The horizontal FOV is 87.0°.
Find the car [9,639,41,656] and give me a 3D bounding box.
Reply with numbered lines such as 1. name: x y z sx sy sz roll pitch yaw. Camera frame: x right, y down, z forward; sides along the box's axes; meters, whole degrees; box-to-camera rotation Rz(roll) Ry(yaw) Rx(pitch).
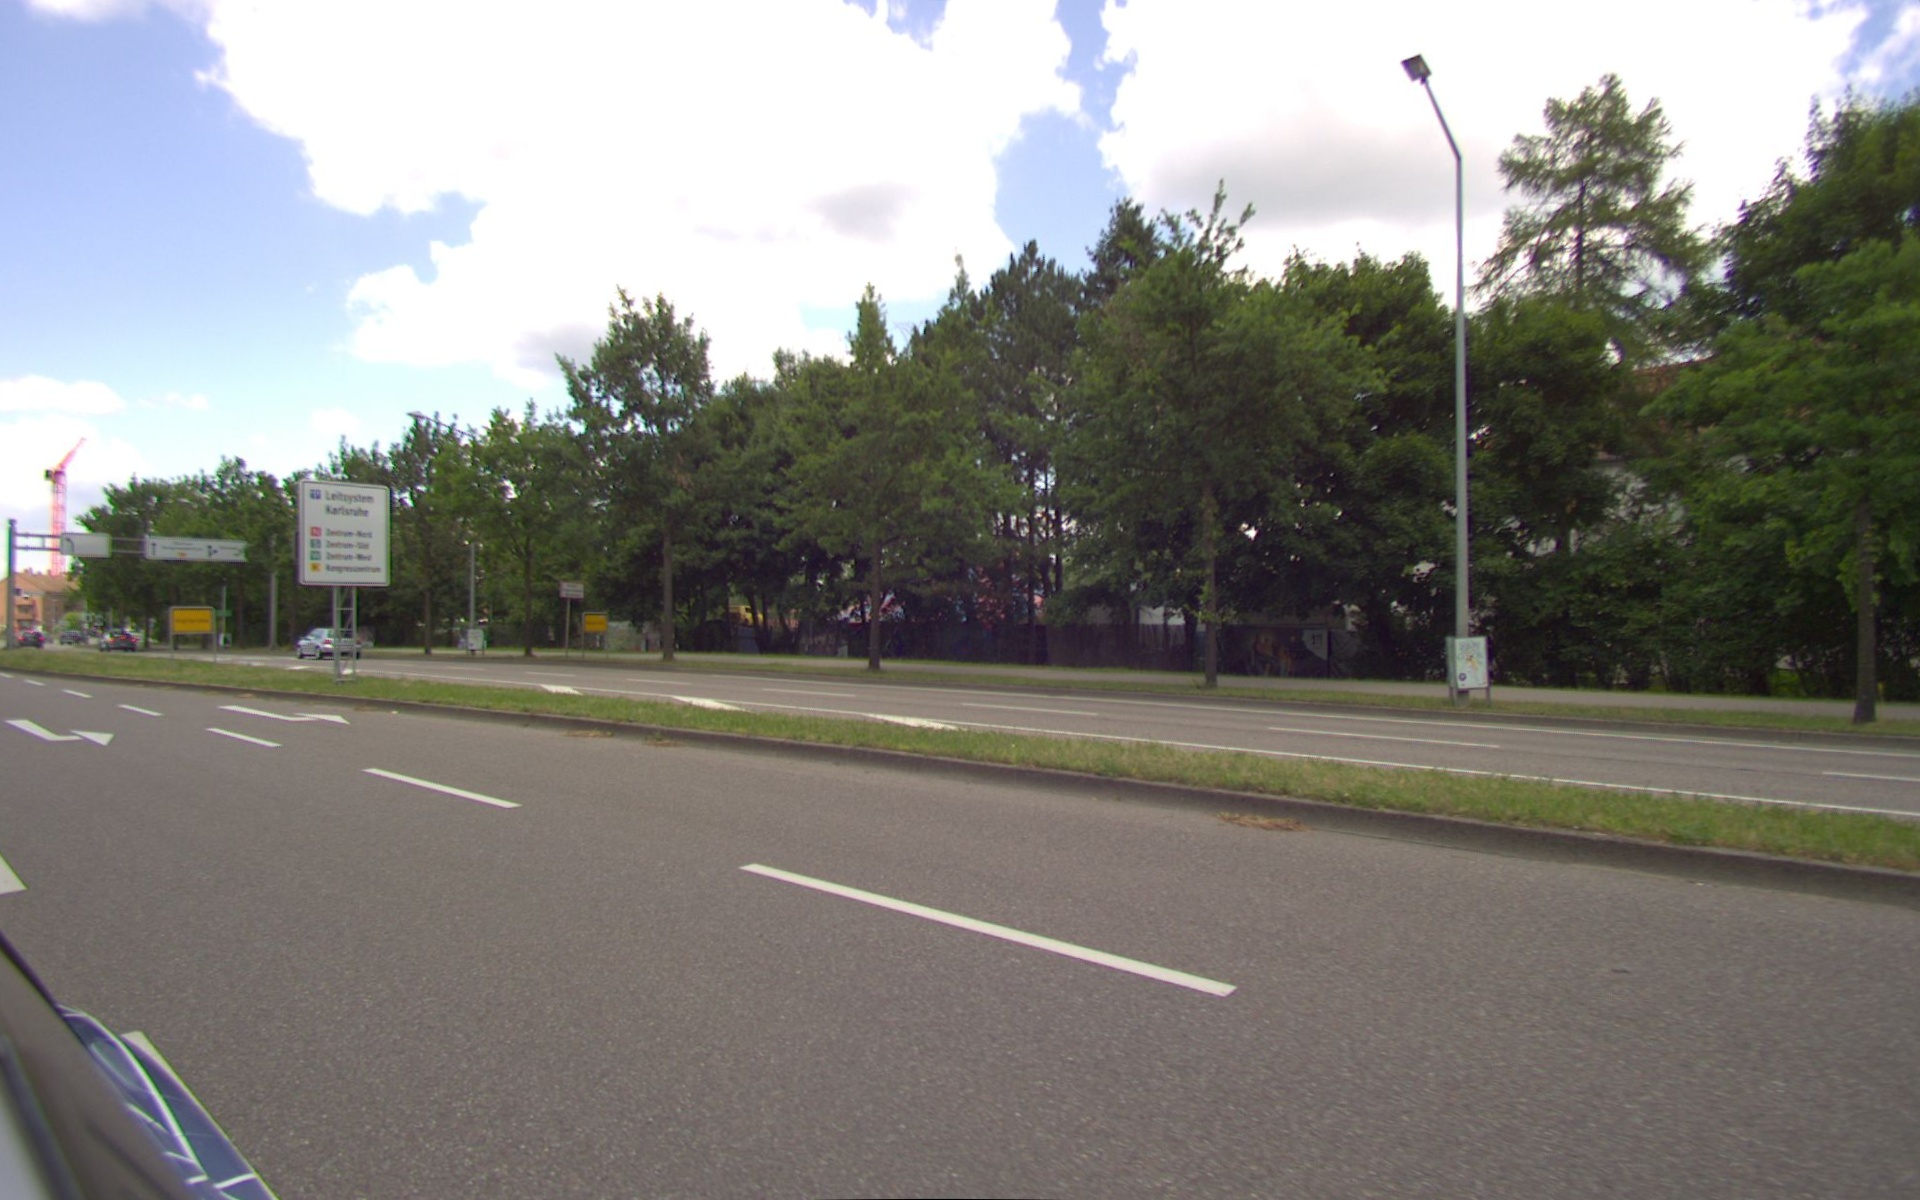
1. car: -84.951 4.281 91.930 4.070 1.507 1.691 -1 -2 42

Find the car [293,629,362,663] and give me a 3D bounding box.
1. car: -28.873 2.067 46.151 3.696 1.507 1.691 -1 -2 42

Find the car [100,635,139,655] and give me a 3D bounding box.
1. car: -64.742 3.453 77.914 4.070 1.507 1.691 -1 -2 42
